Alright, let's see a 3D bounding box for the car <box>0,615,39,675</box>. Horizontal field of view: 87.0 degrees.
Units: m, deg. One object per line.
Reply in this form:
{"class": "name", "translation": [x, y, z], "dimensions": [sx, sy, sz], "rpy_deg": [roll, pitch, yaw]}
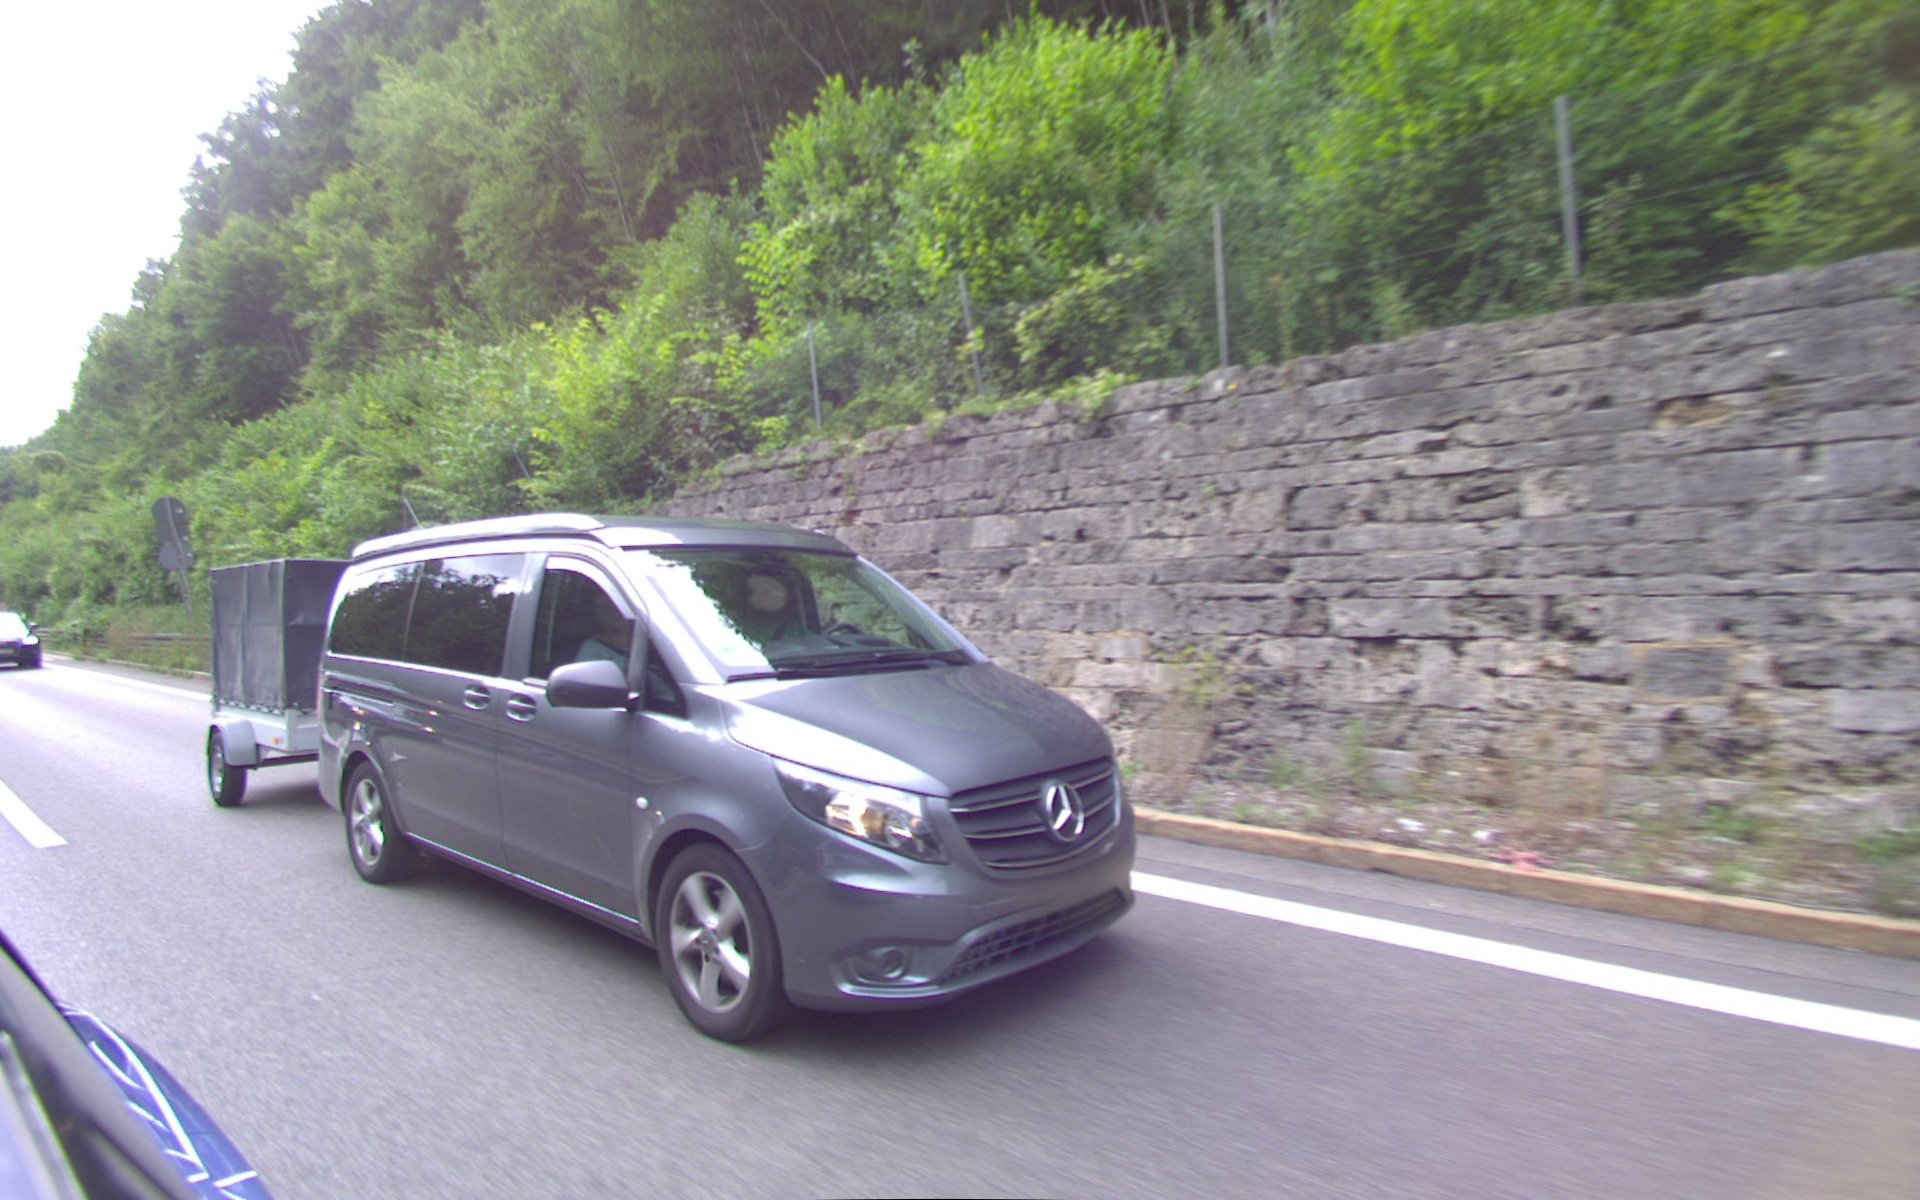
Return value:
{"class": "car", "translation": [-28.782, 1.299, 29.730], "dimensions": [5.584, 1.605, 1.950], "rpy_deg": [0, 1, 42]}

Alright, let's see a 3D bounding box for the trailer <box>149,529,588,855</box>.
{"class": "trailer", "translation": [-4.715, 0.602, 7.937], "dimensions": [3.428, 1.954, 1.951], "rpy_deg": [-2, -2, 40]}

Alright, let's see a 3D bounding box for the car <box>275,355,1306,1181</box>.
{"class": "car", "translation": [-1.383, 0.485, 5.053], "dimensions": [5.536, 2.029, 1.973], "rpy_deg": [-2, -2, 40]}
